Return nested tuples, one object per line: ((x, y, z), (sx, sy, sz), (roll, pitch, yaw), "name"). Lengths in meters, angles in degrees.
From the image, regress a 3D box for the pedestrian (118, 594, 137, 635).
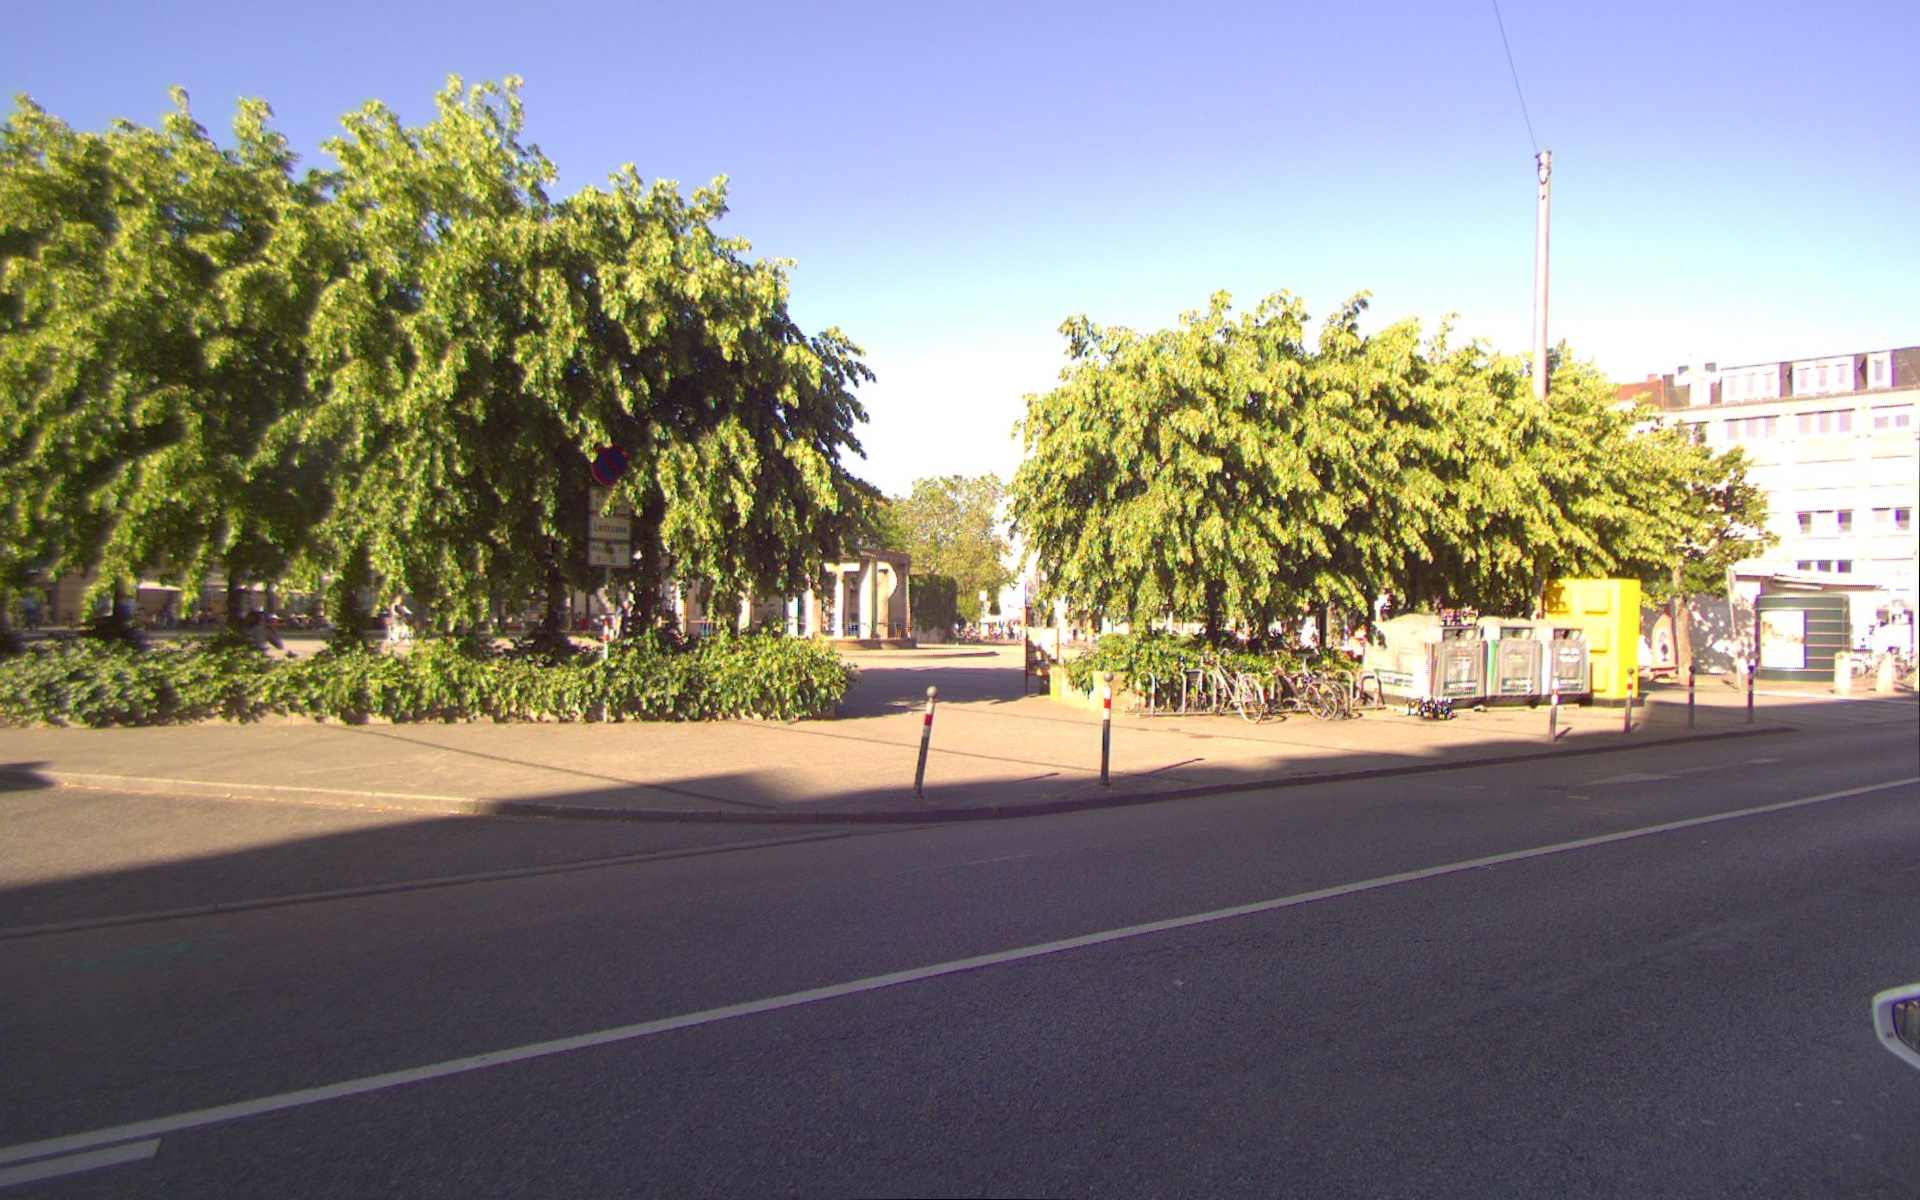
((-36.894, 0.636, 44.509), (0.597, 1.816, 0.575), (2, 0, -44), "pedestrian")

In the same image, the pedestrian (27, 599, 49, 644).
((-37.439, 0.866, 40.790), (0.597, 1.816, 0.576), (2, 0, -40), "pedestrian")

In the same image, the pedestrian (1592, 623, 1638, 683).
((19.639, 1.588, 30.106), (0.734, 1.748, 0.898), (1, 0, -26), "pedestrian")

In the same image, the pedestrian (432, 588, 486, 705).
((-8.280, 0.753, 16.605), (0.574, 1.881, 0.598), (1, 0, 41), "pedestrian")

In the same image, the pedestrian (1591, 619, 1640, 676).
((19.595, 1.394, 30.033), (0.727, 1.658, 0.983), (1, 0, -26), "pedestrian")

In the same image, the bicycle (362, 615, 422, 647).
((-19.497, 1.049, 34.461), (2.018, 1.030, 0.504), (1, 0, 16), "bicycle")

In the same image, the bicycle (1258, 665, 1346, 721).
((5.497, 1.483, 16.210), (0.435, 0.779, 1.469), (2, 0, -25), "bicycle")

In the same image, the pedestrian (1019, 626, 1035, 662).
((3.956, 2.595, 59.286), (0.670, 2.040, 0.579), (2, 0, -23), "pedestrian")

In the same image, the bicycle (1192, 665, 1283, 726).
((4.272, 1.454, 15.559), (0.467, 0.779, 1.653), (2, 0, -20), "bicycle")

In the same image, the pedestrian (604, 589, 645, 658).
((-8.789, 0.612, 26.362), (0.918, 1.775, 0.728), (2, 0, -15), "pedestrian")

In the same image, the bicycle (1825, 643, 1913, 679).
((30.902, 2.061, 34.179), (0.796, 1.119, 2.073), (1, -1, -30), "bicycle")

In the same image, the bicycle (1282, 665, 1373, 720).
((5.998, 1.493, 16.445), (0.468, 0.779, 1.468), (2, 0, -27), "bicycle")

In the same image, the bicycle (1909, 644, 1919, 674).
((37.170, 2.241, 37.730), (0.796, 1.119, 2.073), (1, -1, -30), "bicycle")

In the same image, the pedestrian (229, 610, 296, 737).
((-10.666, 1.107, 15.382), (0.722, 1.881, 0.578), (2, 0, -28), "pedestrian")

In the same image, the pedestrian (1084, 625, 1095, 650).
((9.643, 2.774, 74.920), (0.591, 1.816, 0.581), (1, 0, -12), "pedestrian")

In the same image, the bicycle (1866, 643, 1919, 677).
((33.207, 2.108, 35.153), (0.796, 1.119, 2.073), (1, -1, -30), "bicycle")
